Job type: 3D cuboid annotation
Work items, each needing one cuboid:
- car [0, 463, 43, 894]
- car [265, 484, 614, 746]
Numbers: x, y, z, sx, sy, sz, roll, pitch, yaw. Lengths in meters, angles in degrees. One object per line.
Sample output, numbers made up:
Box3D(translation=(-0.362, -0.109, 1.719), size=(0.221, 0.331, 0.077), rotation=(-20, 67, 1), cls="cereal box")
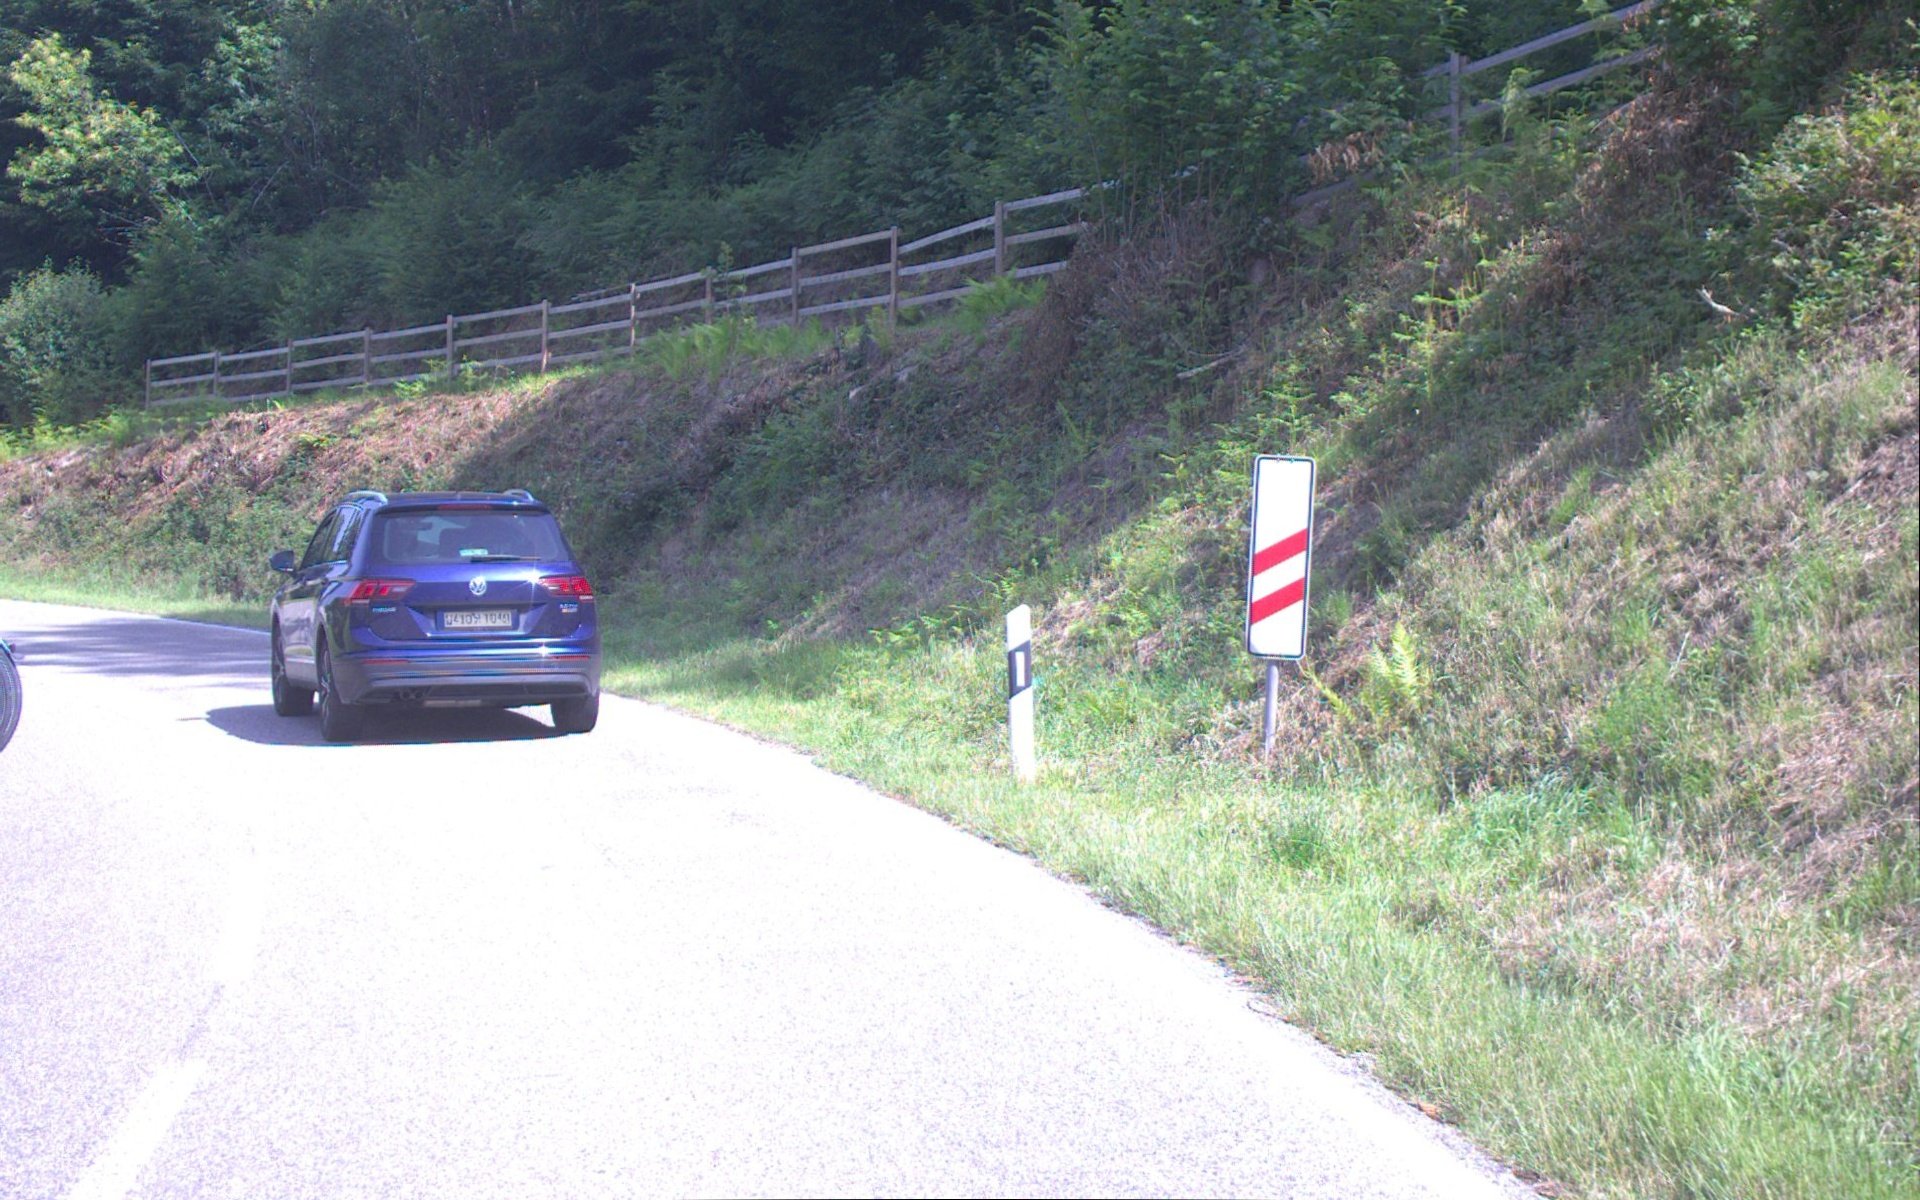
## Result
Box3D(translation=(-4.689, 0.374, 12.626), size=(1.949, 1.734, 4.898), rotation=(-2, 2, -8), cls="car")
Box3D(translation=(-3.710, 0.018, 23.941), size=(1.852, 1.643, 4.141), rotation=(-1, 2, -16), cls="car")
